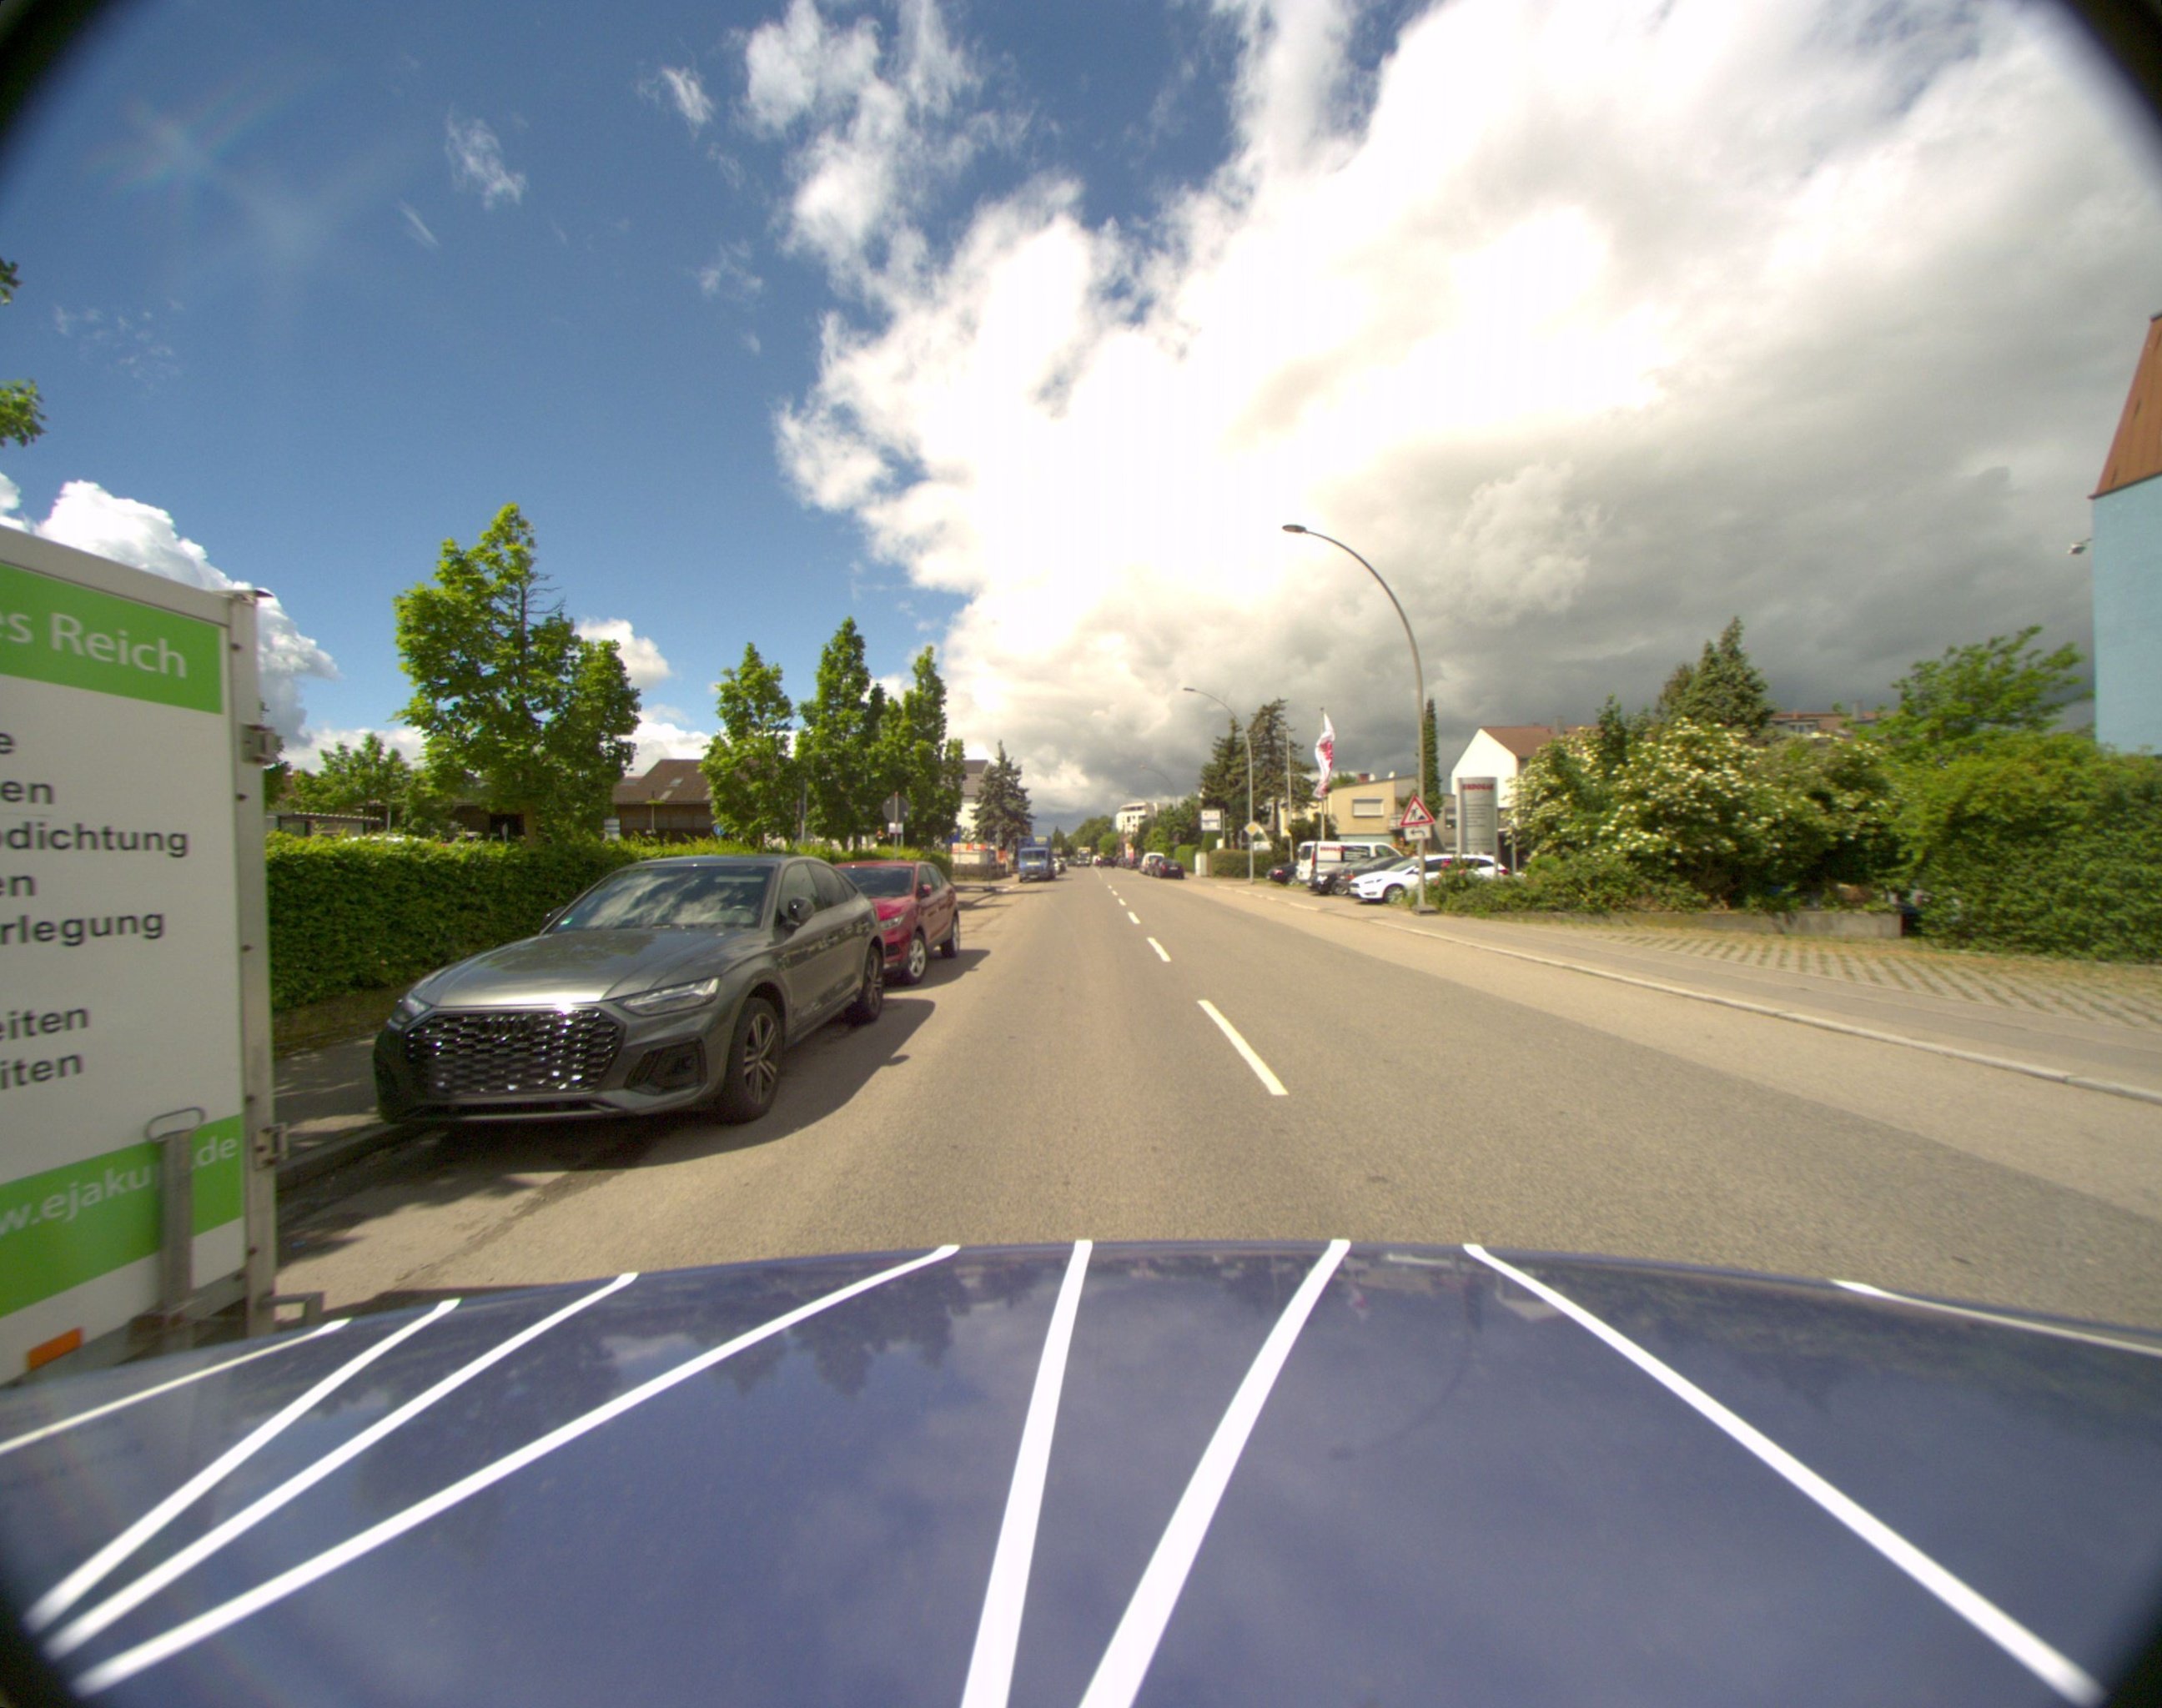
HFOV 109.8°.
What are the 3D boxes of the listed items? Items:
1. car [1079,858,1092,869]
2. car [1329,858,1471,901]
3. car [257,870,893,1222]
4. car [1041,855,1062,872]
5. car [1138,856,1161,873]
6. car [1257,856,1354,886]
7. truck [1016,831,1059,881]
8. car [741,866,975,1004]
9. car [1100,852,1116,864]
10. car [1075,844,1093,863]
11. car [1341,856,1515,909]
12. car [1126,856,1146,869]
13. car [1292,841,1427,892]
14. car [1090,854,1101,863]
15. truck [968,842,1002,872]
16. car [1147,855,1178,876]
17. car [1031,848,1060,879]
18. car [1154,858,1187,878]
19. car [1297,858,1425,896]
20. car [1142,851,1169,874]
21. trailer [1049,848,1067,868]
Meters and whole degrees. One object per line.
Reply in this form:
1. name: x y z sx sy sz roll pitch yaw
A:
1. car: 0.708 1.513 123.393 1.892 1.708 3.999 0 0 -2
2. car: 10.586 0.842 25.437 3.996 1.347 1.872 -1 0 3
3. car: -2.902 0.939 5.780 1.947 1.562 4.445 0 0 -2
4. car: -2.652 0.832 69.629 1.777 1.499 4.000 0 0 0
5. car: 6.346 0.950 70.477 1.644 1.478 4.000 2 0 -1
6. car: 10.654 0.811 36.191 3.997 1.197 1.871 -3 0 -1
7. truck: -2.861 0.151 51.349 2.326 3.079 6.043 -3 0 1
8. car: -2.947 0.992 11.170 1.946 1.562 4.446 0 0 3
9. car: 3.616 0.504 103.191 1.999 1.606 4.411 0 0 0
10. car: 0.531 0.029 158.230 3.263 3.595 10.270 -2 -1 -1
11. car: 10.328 0.824 22.864 4.385 1.470 1.871 -1 1 1
12. car: 6.135 0.955 85.137 1.724 1.484 4.735 0 -1 -1
13. car: 11.116 0.489 30.554 4.664 1.960 2.115 -1 0 -3
14. car: 2.588 0.813 137.093 1.748 1.618 4.356 -1 0 0
15. truck: -7.188 0.278 57.269 1.834 2.069 5.386 2 -2 0
16. car: 6.154 0.866 57.989 1.748 1.463 4.644 2 0 -1
17. car: -2.641 0.707 57.569 1.878 2.156 4.464 -3 0 1
18. car: 6.220 0.954 53.167 1.635 1.296 4.116 2 0 -2
19. car: 10.147 0.817 27.755 3.997 1.307 1.871 -1 1 -1
20. car: 6.207 0.716 63.638 1.748 1.827 4.355 2 0 -1
21. trailer: -2.421 0.445 81.047 1.777 2.132 4.114 0 0 0
